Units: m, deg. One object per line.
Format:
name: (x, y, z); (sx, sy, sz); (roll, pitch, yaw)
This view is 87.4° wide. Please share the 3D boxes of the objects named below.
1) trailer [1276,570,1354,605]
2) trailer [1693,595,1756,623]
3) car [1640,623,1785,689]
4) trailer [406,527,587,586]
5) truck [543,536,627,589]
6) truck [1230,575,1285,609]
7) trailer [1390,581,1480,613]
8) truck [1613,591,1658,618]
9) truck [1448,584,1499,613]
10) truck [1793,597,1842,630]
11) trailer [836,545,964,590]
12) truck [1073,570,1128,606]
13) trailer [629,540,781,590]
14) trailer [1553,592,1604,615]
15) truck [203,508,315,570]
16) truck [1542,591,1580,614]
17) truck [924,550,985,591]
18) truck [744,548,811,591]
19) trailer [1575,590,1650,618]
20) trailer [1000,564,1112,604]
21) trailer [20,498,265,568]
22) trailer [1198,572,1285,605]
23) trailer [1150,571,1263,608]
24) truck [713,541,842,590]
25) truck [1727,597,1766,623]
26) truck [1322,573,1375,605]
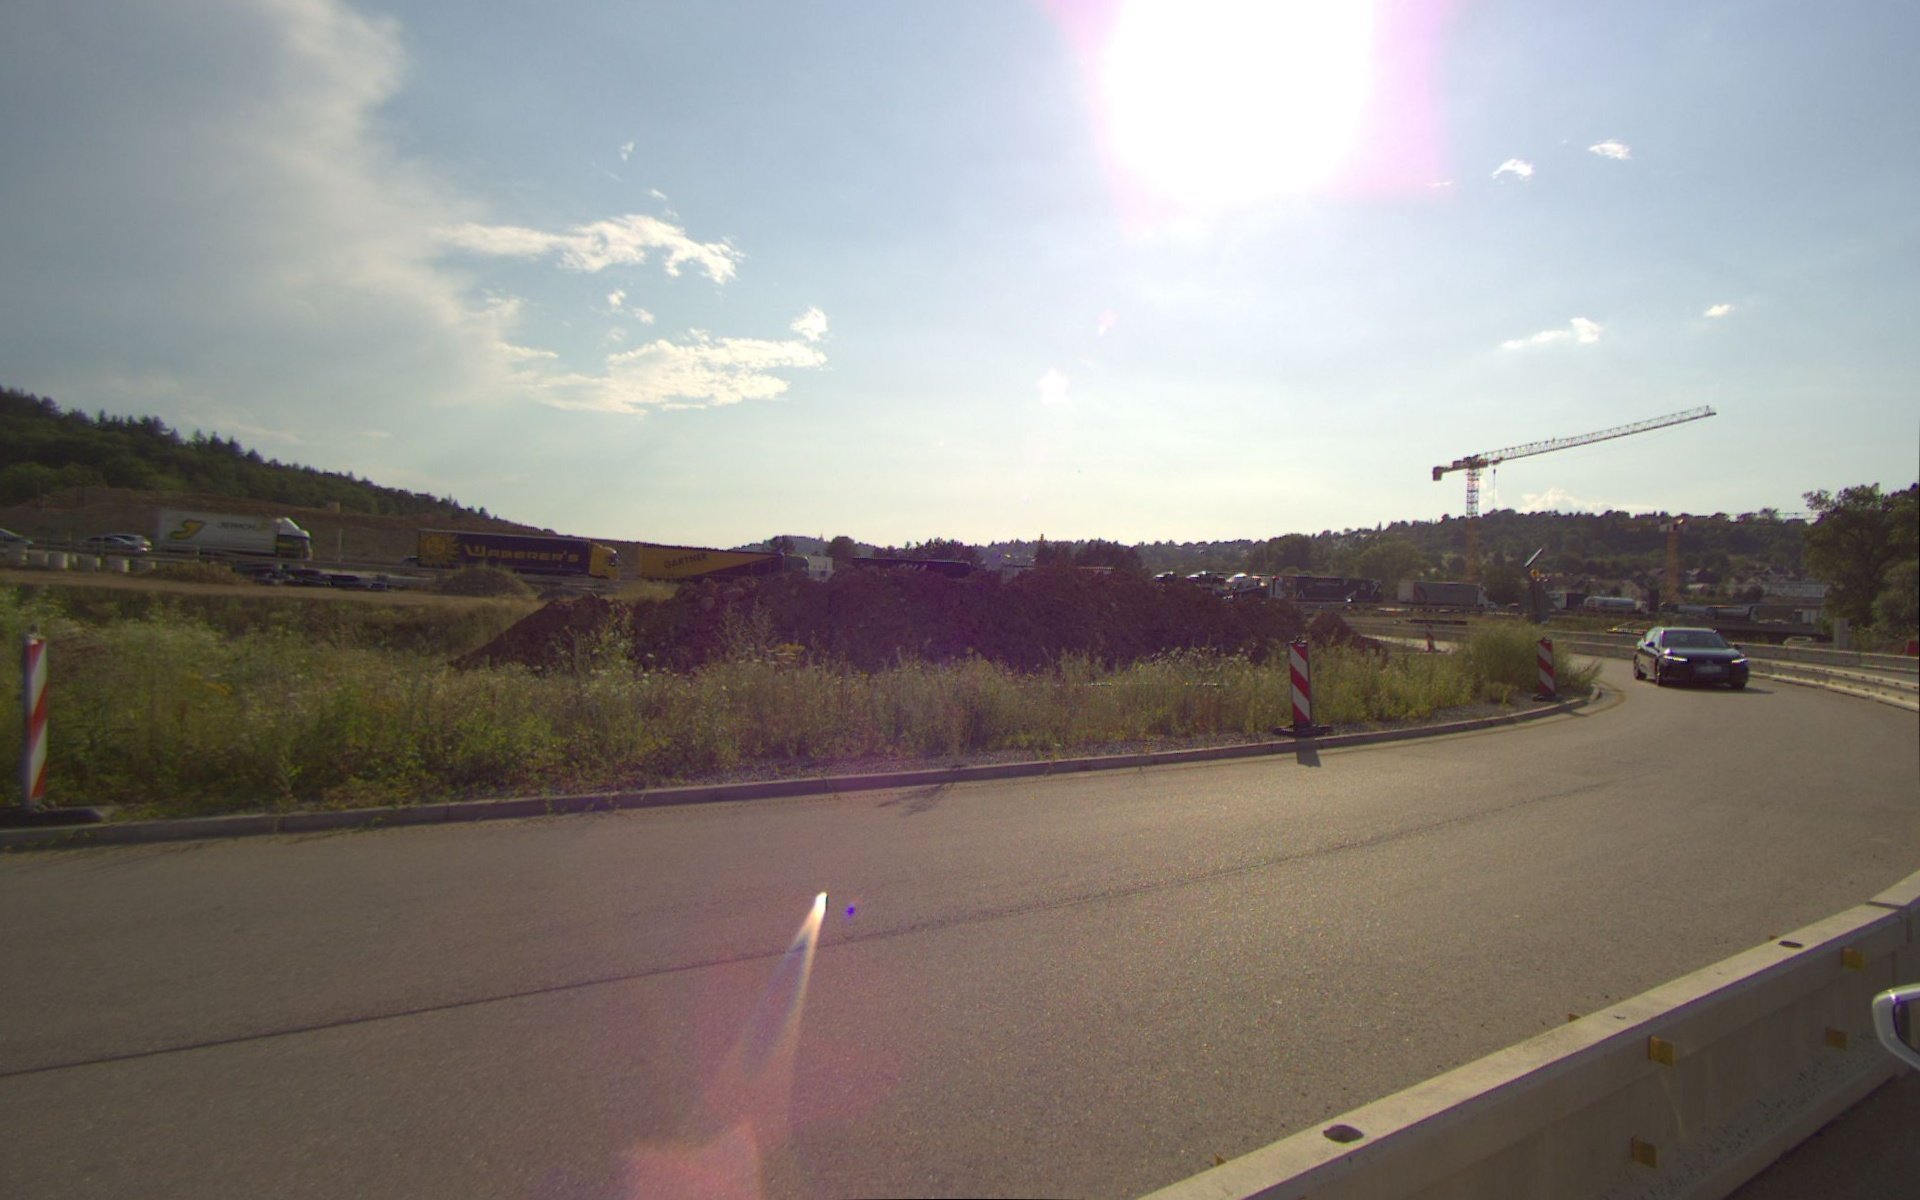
trailer: (47.096, -1.665, 133.142); (10.651, 4.146, 2.949); (2, 0, -26)
trailer: (136.086, 1.625, 178.670); (14.070, 4.372, 3.092); (2, 1, -27)
car: (19.344, 1.385, 26.050); (1.682, 1.539, 4.516); (1, -1, 19)
trailer: (-40.275, -3.639, 87.866); (14.065, 4.371, 3.093); (2, 0, -27)
truck: (-34.004, -3.324, 91.044); (6.806, 4.371, 3.093); (2, 0, -26)
truck: (38.090, -1.058, 128.657); (6.540, 4.050, 2.837); (2, 1, -27)
trailer: (68.206, -0.455, 144.093); (14.557, 4.050, 3.372); (2, 1, -27)
truck: (112.060, 0.758, 166.691); (6.540, 4.050, 3.377); (2, 1, -27)
truck: (75.629, -0.214, 148.007); (6.540, 4.050, 3.330); (2, 1, -27)
truck: (165.053, 2.560, 193.364); (10.535, 5.949, 3.153); (2, 0, -26)
trailer: (-6.141, -3.337, 104.965); (13.460, 4.116, 2.470); (2, 1, -28)
truck: (16.456, -1.445, 117.408); (5.935, 3.930, 2.471); (2, 1, -28)
trailer: (-24.280, -3.272, 96.111); (13.795, 4.011, 2.471); (2, 1, -27)
trailer: (106.793, 0.622, 173.418); (9.444, 3.801, 2.996); (2, 0, -26)
truck: (-55.749, -4.777, 80.082); (6.806, 4.371, 3.093); (2, 0, -26)
truck: (102.575, 0.461, 171.321); (5.614, 3.777, 2.986); (2, 0, -27)
truck: (-0.617, -3.166, 107.924); (5.935, 4.114, 2.470); (2, 1, -28)
truck: (-18.046, -3.023, 99.258); (5.934, 3.954, 2.471); (2, 1, -27)
trailer: (106.382, 0.619, 163.747); (14.557, 4.050, 3.372); (2, 1, -27)
trailer: (11.057, -1.772, 114.616); (13.458, 3.930, 2.470); (2, 1, -28)
trailer: (-62.095, -4.988, 76.952); (14.065, 4.371, 3.093); (2, 0, -27)
trailer: (39.468, -1.616, 140.631); (13.304, 4.050, 2.846); (2, 1, -27)
trailer: (30.739, -1.258, 124.846); (15.545, 4.050, 2.846); (2, 1, -27)
truck: (-19.356, -3.584, 107.001); (13.016, 4.470, 3.545); (2, 0, -29)
truck: (142.492, 1.817, 181.984); (6.540, 4.343, 3.086); (2, 1, -27)
truck: (52.485, -1.473, 135.857); (6.537, 4.050, 2.875); (2, 1, -26)
